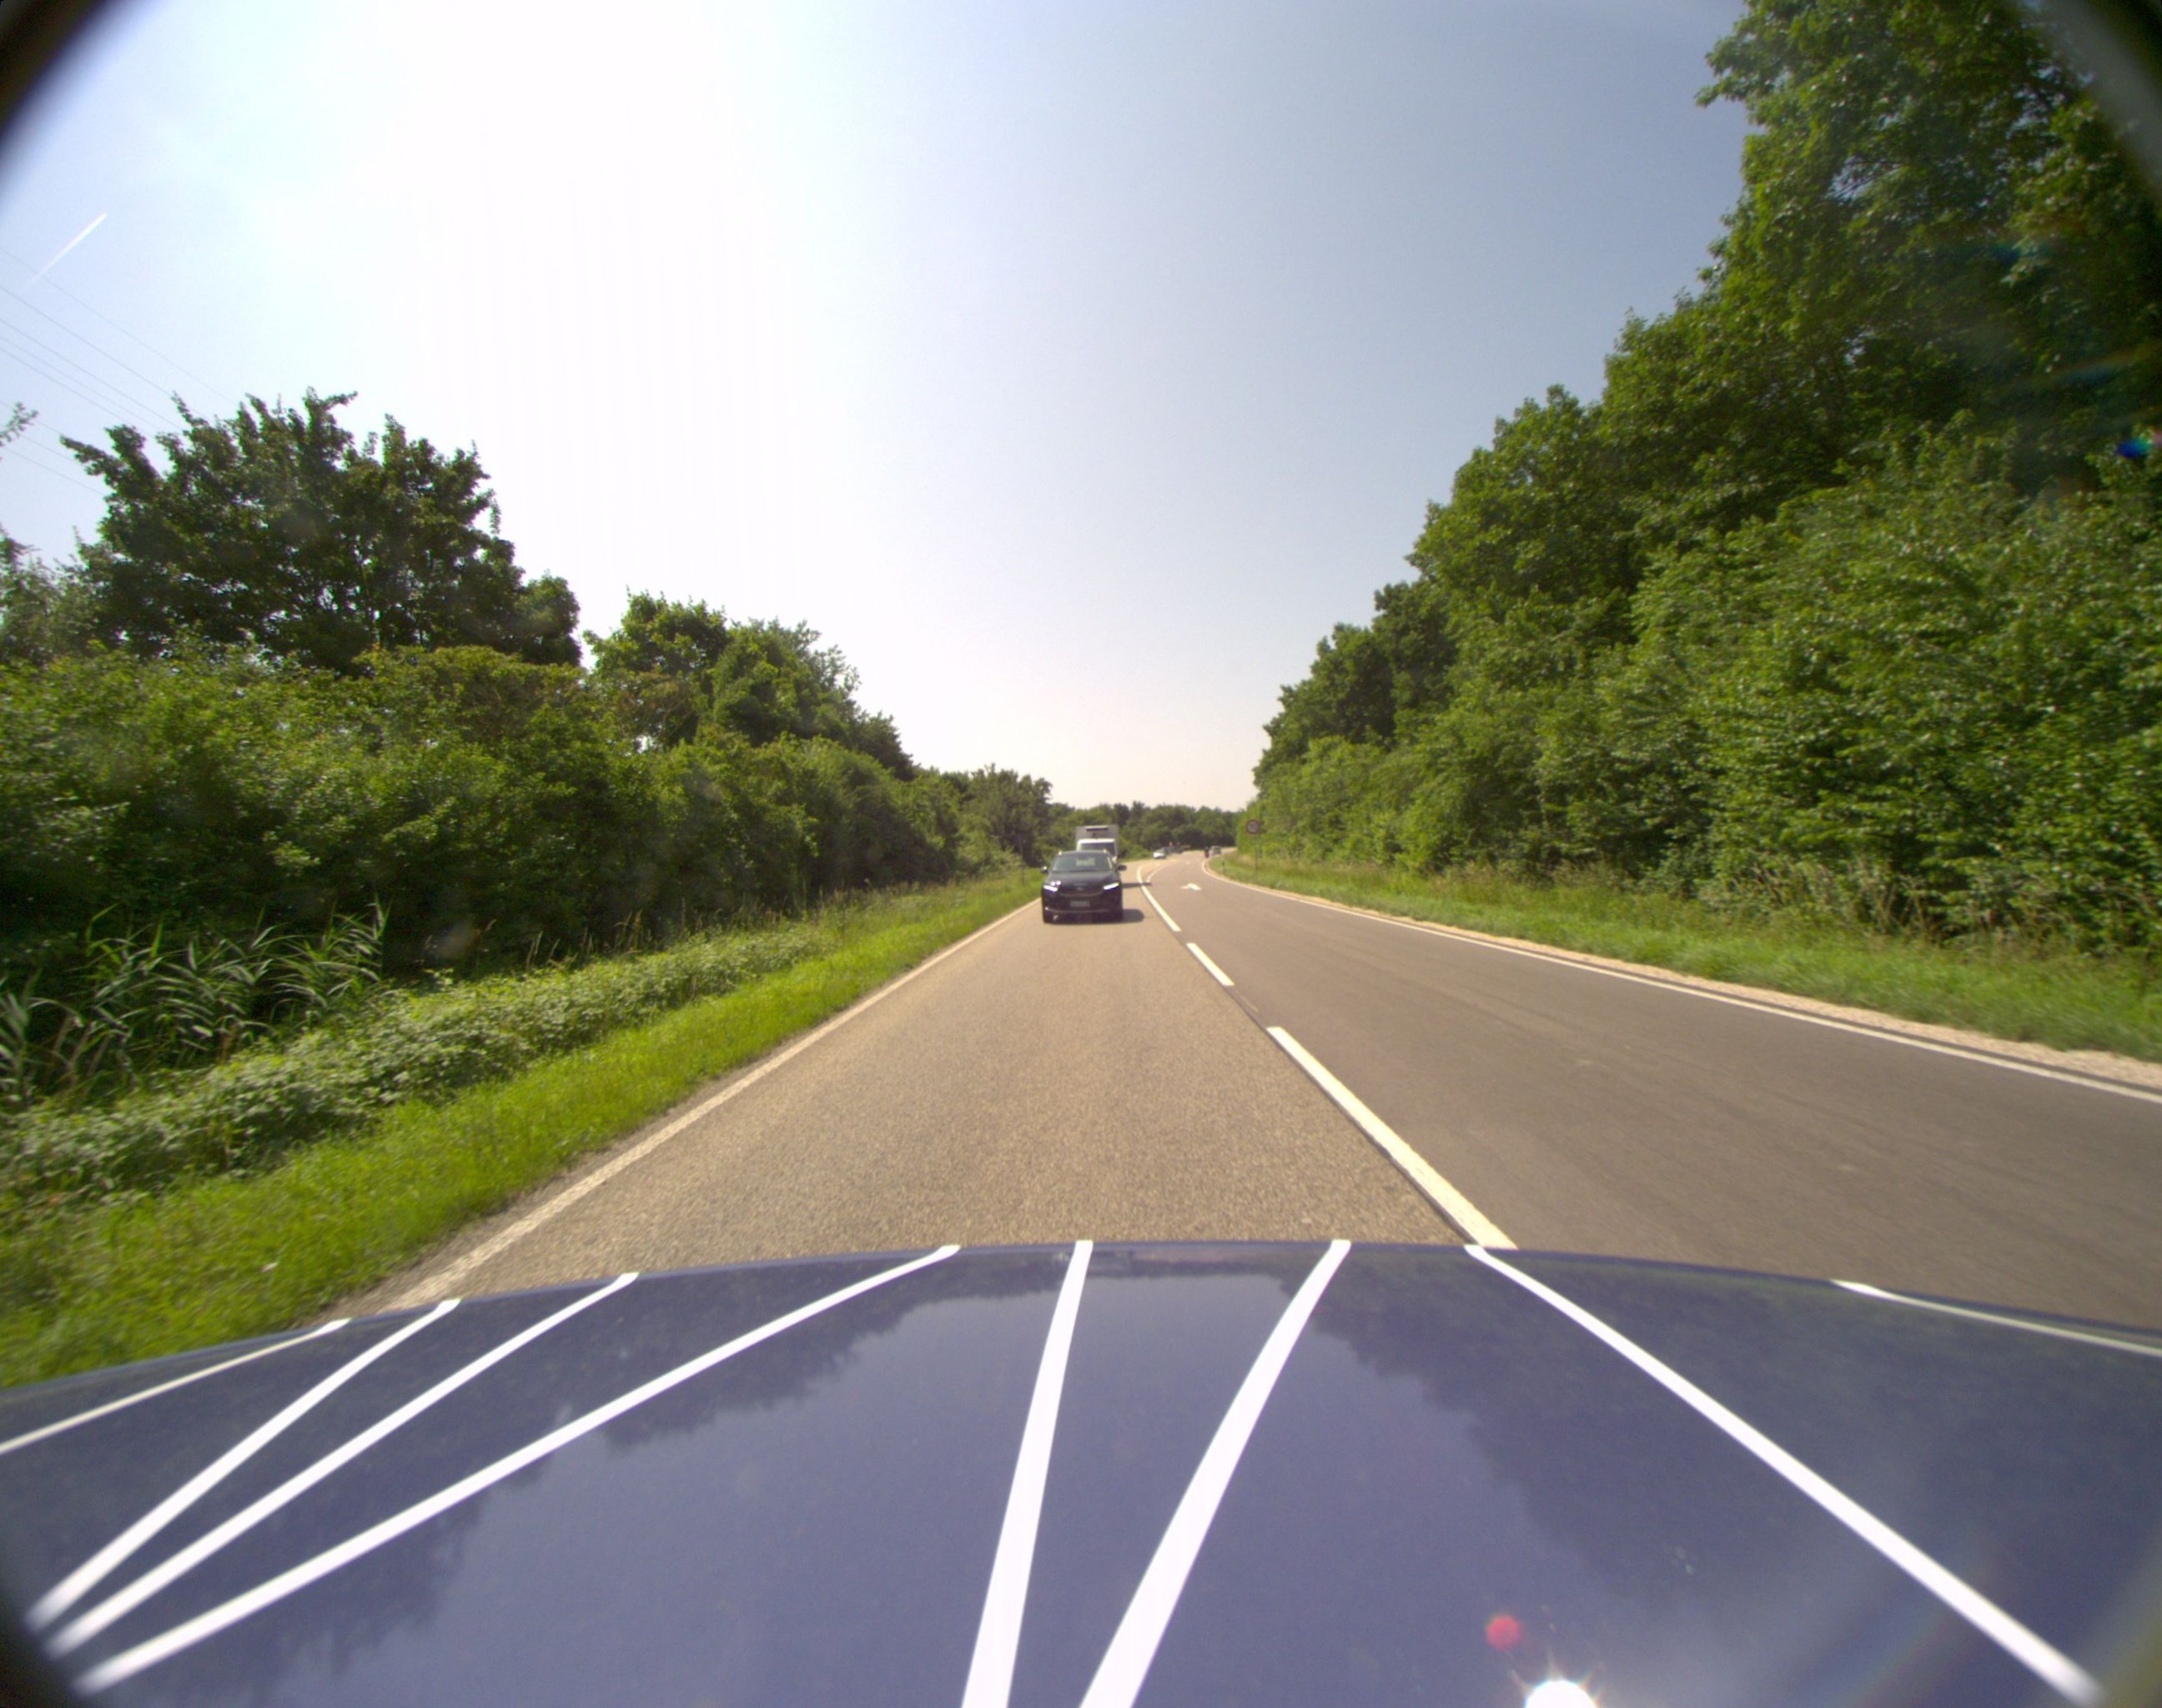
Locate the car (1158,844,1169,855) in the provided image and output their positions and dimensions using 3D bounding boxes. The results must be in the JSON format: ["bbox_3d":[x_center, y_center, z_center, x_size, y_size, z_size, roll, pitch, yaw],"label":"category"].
[{"bbox_3d":[14.203,-0.764,131.426,1.808,1.797,4.001,-2,0,6],"label":"car"}]

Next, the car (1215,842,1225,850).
[{"bbox_3d":[28.719,-1.623,157.205,1.806,1.627,4.213,-2,1,6],"label":"car"}]

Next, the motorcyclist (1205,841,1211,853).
[{"bbox_3d":[20.178,-1.038,120.903,0.822,1.871,0.657,-3,1,3],"label":"motorcyclist"}]

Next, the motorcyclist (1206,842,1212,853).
[{"bbox_3d":[20.208,-0.977,120.144,0.832,1.742,0.623,-3,1,3],"label":"motorcyclist"}]

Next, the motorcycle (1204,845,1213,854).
[{"bbox_3d":[20.285,-0.725,120.906,0.949,1.243,2.682,-2,0,3],"label":"motorcycle"}]

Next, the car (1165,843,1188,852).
[{"bbox_3d":[23.266,-1.624,185.189,5.226,1.896,2.013,-4,2,-1],"label":"car"}]

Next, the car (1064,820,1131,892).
[{"bbox_3d":[0.925,-0.026,36.846,2.591,3.047,6.882,-3,2,6],"label":"car"}]

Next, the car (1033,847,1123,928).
[{"bbox_3d":[0.061,0.733,19.611,1.924,1.711,5.479,-3,0,3],"label":"car"}]
